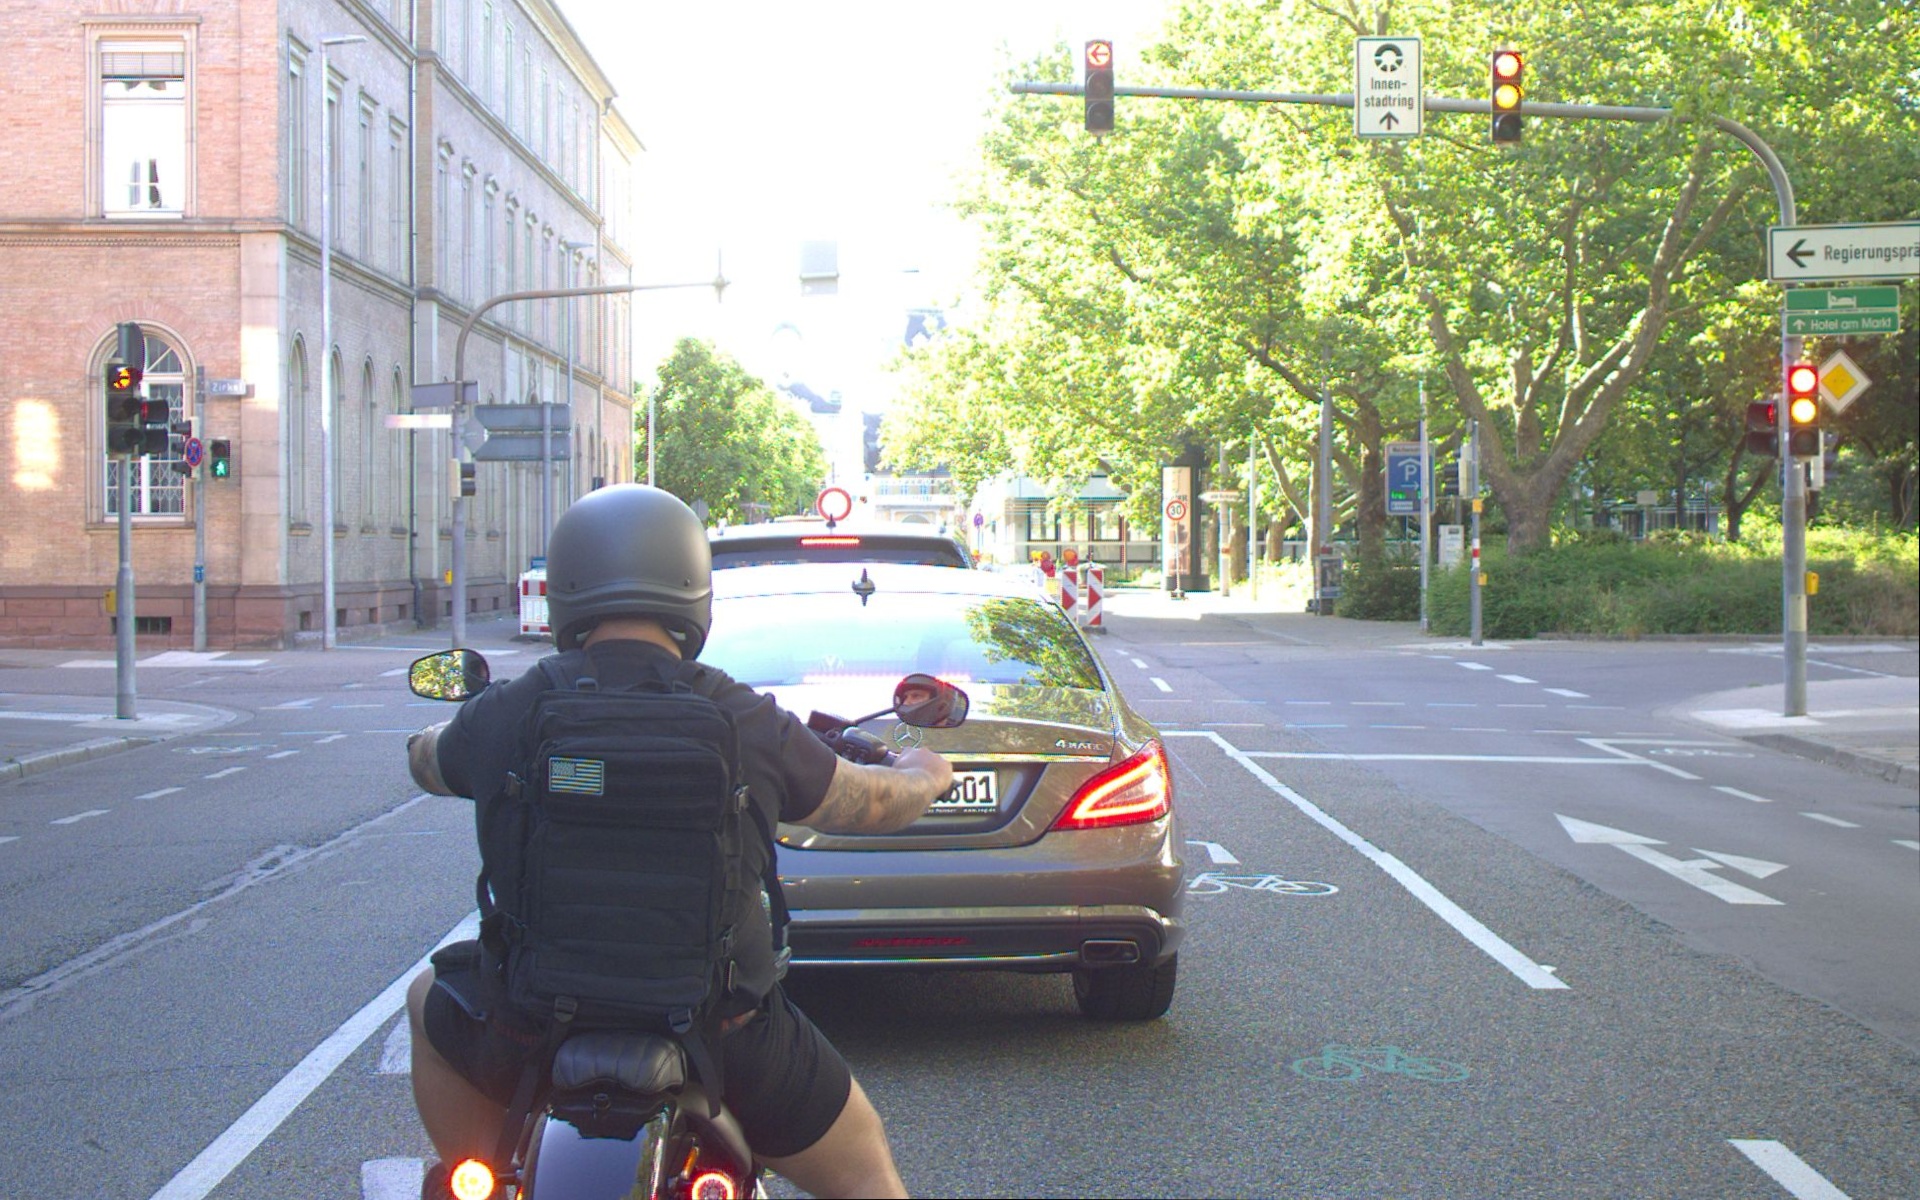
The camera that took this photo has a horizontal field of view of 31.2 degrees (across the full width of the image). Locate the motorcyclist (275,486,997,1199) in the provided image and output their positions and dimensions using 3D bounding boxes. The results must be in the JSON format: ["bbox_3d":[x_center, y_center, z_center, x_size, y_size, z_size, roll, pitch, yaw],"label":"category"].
[{"bbox_3d":[-0.452,0.626,5.430,0.989,1.591,1.404,0,1,-1],"label":"motorcyclist"}]

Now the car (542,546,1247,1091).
[{"bbox_3d":[-0.431,0.559,11.624,1.945,1.468,4.363,0,1,-7],"label":"car"}]

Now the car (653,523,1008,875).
[{"bbox_3d":[-0.638,0.409,17.790,1.612,1.602,4.329,0,1,-1],"label":"car"}]

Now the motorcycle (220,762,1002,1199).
[{"bbox_3d":[-0.456,0.881,5.588,0.989,1.075,2.452,0,1,-1],"label":"motorcycle"}]
